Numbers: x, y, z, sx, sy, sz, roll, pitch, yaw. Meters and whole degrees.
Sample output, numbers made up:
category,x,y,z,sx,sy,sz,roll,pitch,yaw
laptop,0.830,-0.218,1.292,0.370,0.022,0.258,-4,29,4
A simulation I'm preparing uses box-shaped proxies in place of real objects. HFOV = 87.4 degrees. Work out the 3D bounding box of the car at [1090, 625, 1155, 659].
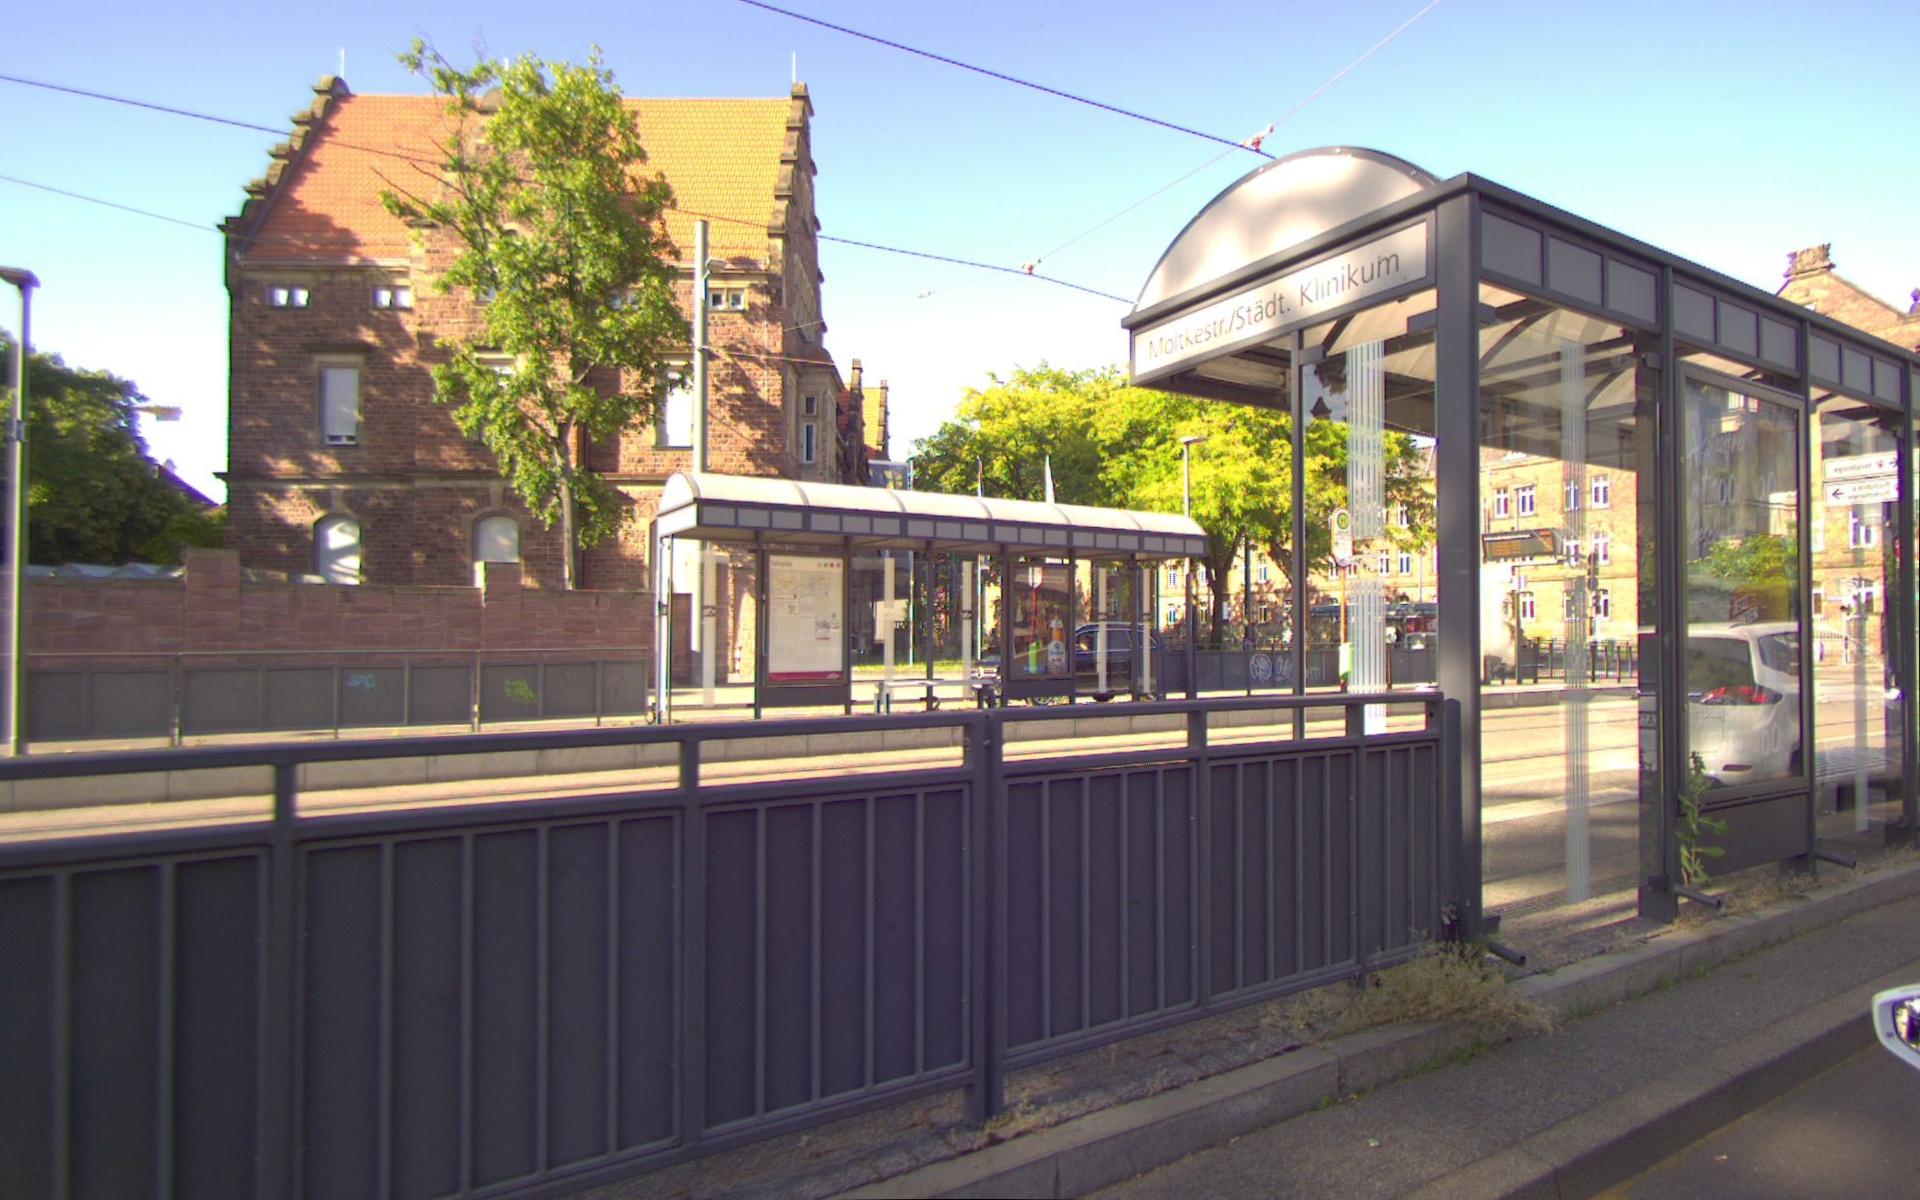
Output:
category,x,y,z,sx,sy,sz,roll,pitch,yaw
car,12.522,3.195,77.670,2.235,2.485,5.004,2,-1,-31

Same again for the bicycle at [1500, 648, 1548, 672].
category,x,y,z,sx,sy,sz,roll,pitch,yaw
bicycle,25.228,2.675,44.932,0.792,1.027,1.726,2,-1,-30

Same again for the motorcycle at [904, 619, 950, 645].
category,x,y,z,sx,sy,sz,roll,pitch,yaw
motorcycle,-2.393,2.350,74.069,1.288,1.852,3.759,0,-2,37

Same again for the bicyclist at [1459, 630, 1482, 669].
category,x,y,z,sx,sy,sz,roll,pitch,yaw
bicyclist,18.354,1.773,36.094,0.679,1.402,0.533,0,-1,34

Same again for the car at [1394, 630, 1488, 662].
category,x,y,z,sx,sy,sz,roll,pitch,yaw
car,24.673,2.325,51.637,1.854,1.542,4.048,2,-1,-28

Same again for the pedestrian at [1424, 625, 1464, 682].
category,x,y,z,sx,sy,sz,roll,pitch,yaw
pedestrian,16.295,1.801,33.826,1.083,1.885,0.724,1,-1,-28

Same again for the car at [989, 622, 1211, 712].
category,x,y,z,sx,sy,sz,roll,pitch,yaw
car,2.928,1.323,20.845,4.304,1.699,1.898,1,-1,-29

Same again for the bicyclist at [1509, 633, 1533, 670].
category,x,y,z,sx,sy,sz,roll,pitch,yaw
bicyclist,25.166,2.310,45.051,0.792,1.657,0.631,1,-1,-31

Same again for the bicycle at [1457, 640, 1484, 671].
category,x,y,z,sx,sy,sz,roll,pitch,yaw
bicycle,18.322,1.977,36.051,0.681,1.063,1.665,0,-1,33

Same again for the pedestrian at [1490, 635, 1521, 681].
category,x,y,z,sx,sy,sz,roll,pitch,yaw
pedestrian,19.569,2.073,36.028,0.816,1.590,0.574,0,0,-10
